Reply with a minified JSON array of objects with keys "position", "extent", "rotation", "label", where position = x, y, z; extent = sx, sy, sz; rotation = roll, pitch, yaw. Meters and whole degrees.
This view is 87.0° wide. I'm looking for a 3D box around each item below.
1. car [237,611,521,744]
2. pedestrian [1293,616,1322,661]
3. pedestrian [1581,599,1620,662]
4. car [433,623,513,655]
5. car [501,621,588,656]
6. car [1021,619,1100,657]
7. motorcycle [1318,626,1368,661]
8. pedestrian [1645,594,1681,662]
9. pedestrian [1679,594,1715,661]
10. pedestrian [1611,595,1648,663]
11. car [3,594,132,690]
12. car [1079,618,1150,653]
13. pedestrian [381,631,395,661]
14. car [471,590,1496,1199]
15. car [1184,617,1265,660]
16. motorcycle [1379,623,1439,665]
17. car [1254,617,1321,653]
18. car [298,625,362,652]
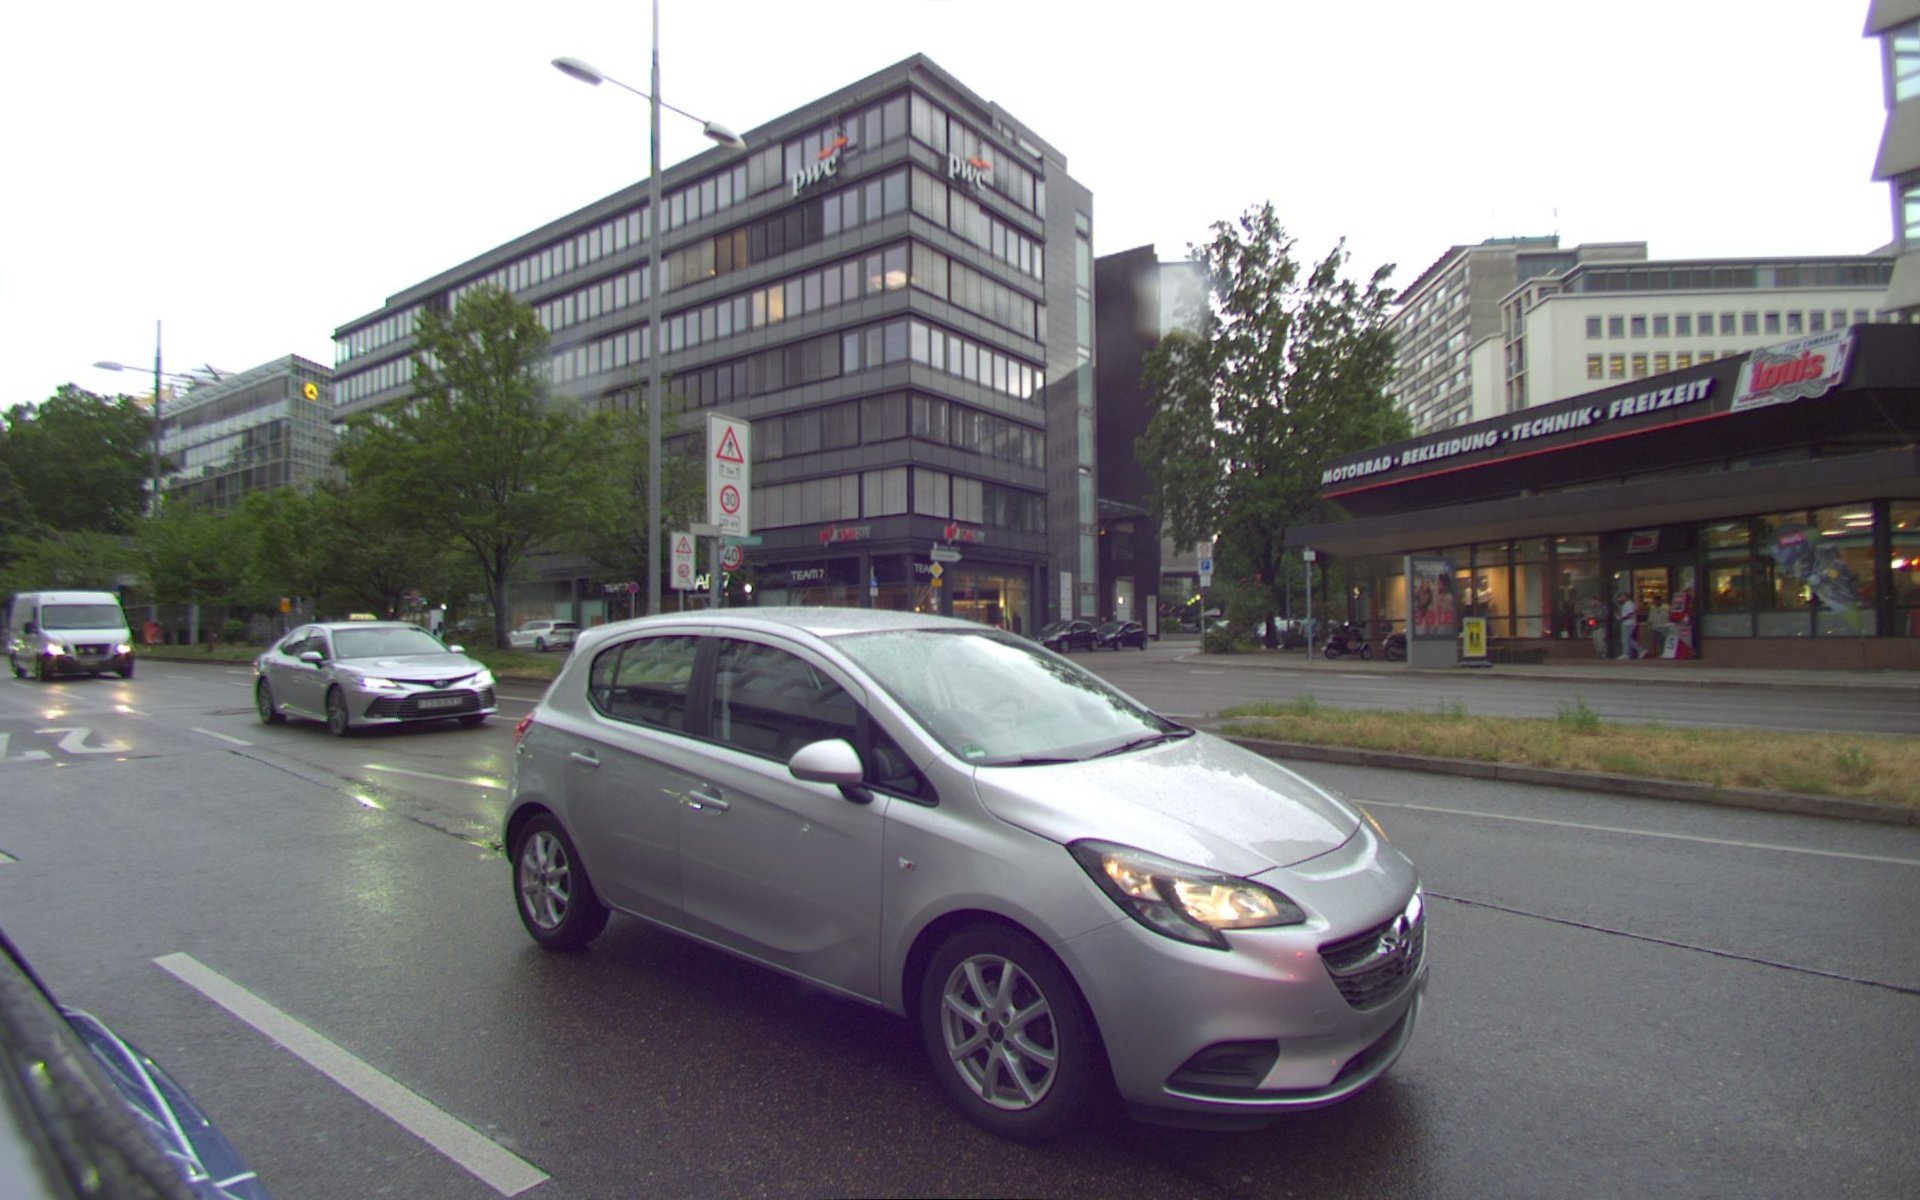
[{"position":[-8.231,0.974,14.141],"extent":[4.771,1.545,1.847],"rotation":[-2,-1,39],"label":"car"},{"position":[13.074,1.440,38.034],"extent":[0.688,1.661,0.735],"rotation":[0,-1,-35],"label":"pedestrian"},{"position":[16.652,0.789,26.323],"extent":[0.605,1.623,0.614],"rotation":[0,-1,-29],"label":"pedestrian"},{"position":[-24.595,1.971,51.097],"extent":[4.100,1.518,1.975],"rotation":[-2,-1,36],"label":"car"},{"position":[-19.406,1.789,47.246],"extent":[3.992,1.518,1.975],"rotation":[-2,-1,36],"label":"car"},{"position":[4.544,1.663,45.469],"extent":[1.847,1.596,3.716],"rotation":[-2,-1,37],"label":"car"},{"position":[12.969,1.459,34.277],"extent":[1.600,1.153,0.360],"rotation":[-1,-1,-8],"label":"motorcycle"},{"position":[18.589,0.739,26.779],"extent":[0.532,1.757,0.560],"rotation":[0,-1,-29],"label":"pedestrian"},{"position":[19.518,0.727,26.807],"extent":[0.532,1.757,0.560],"rotation":[0,-1,-29],"label":"pedestrian"},{"position":[17.630,0.752,26.648],"extent":[0.605,1.757,0.560],"rotation":[0,-1,-29],"label":"pedestrian"},{"position":[-25.120,1.134,28.416],"extent":[5.475,2.459,1.927],"rotation":[-2,-1,40],"label":"car"},{"position":[7.578,1.719,49.465],"extent":[1.847,1.596,3.716],"rotation":[-2,-1,37],"label":"car"},{"position":[-39.539,3.184,69.943],"extent":[0.500,2.029,0.681],"rotation":[-2,-1,38],"label":"pedestrian"},{"position":[-0.223,0.743,3.997],"extent":[3.872,1.446,1.631],"rotation":[-2,-1,40],"label":"car"},{"position":[10.672,1.508,40.636],"extent":[1.847,1.596,3.716],"rotation":[-2,-1,37],"label":"car"},{"position":[13.838,1.347,31.224],"extent":[1.646,1.242,0.360],"rotation":[-1,-1,2],"label":"motorcycle"},{"position":[15.569,1.630,48.037],"extent":[1.847,1.596,3.716],"rotation":[-2,-1,37],"label":"car"},{"position":[-37.940,2.292,60.907],"extent":[3.992,1.518,1.975],"rotation":[-2,-1,36],"label":"car"}]
